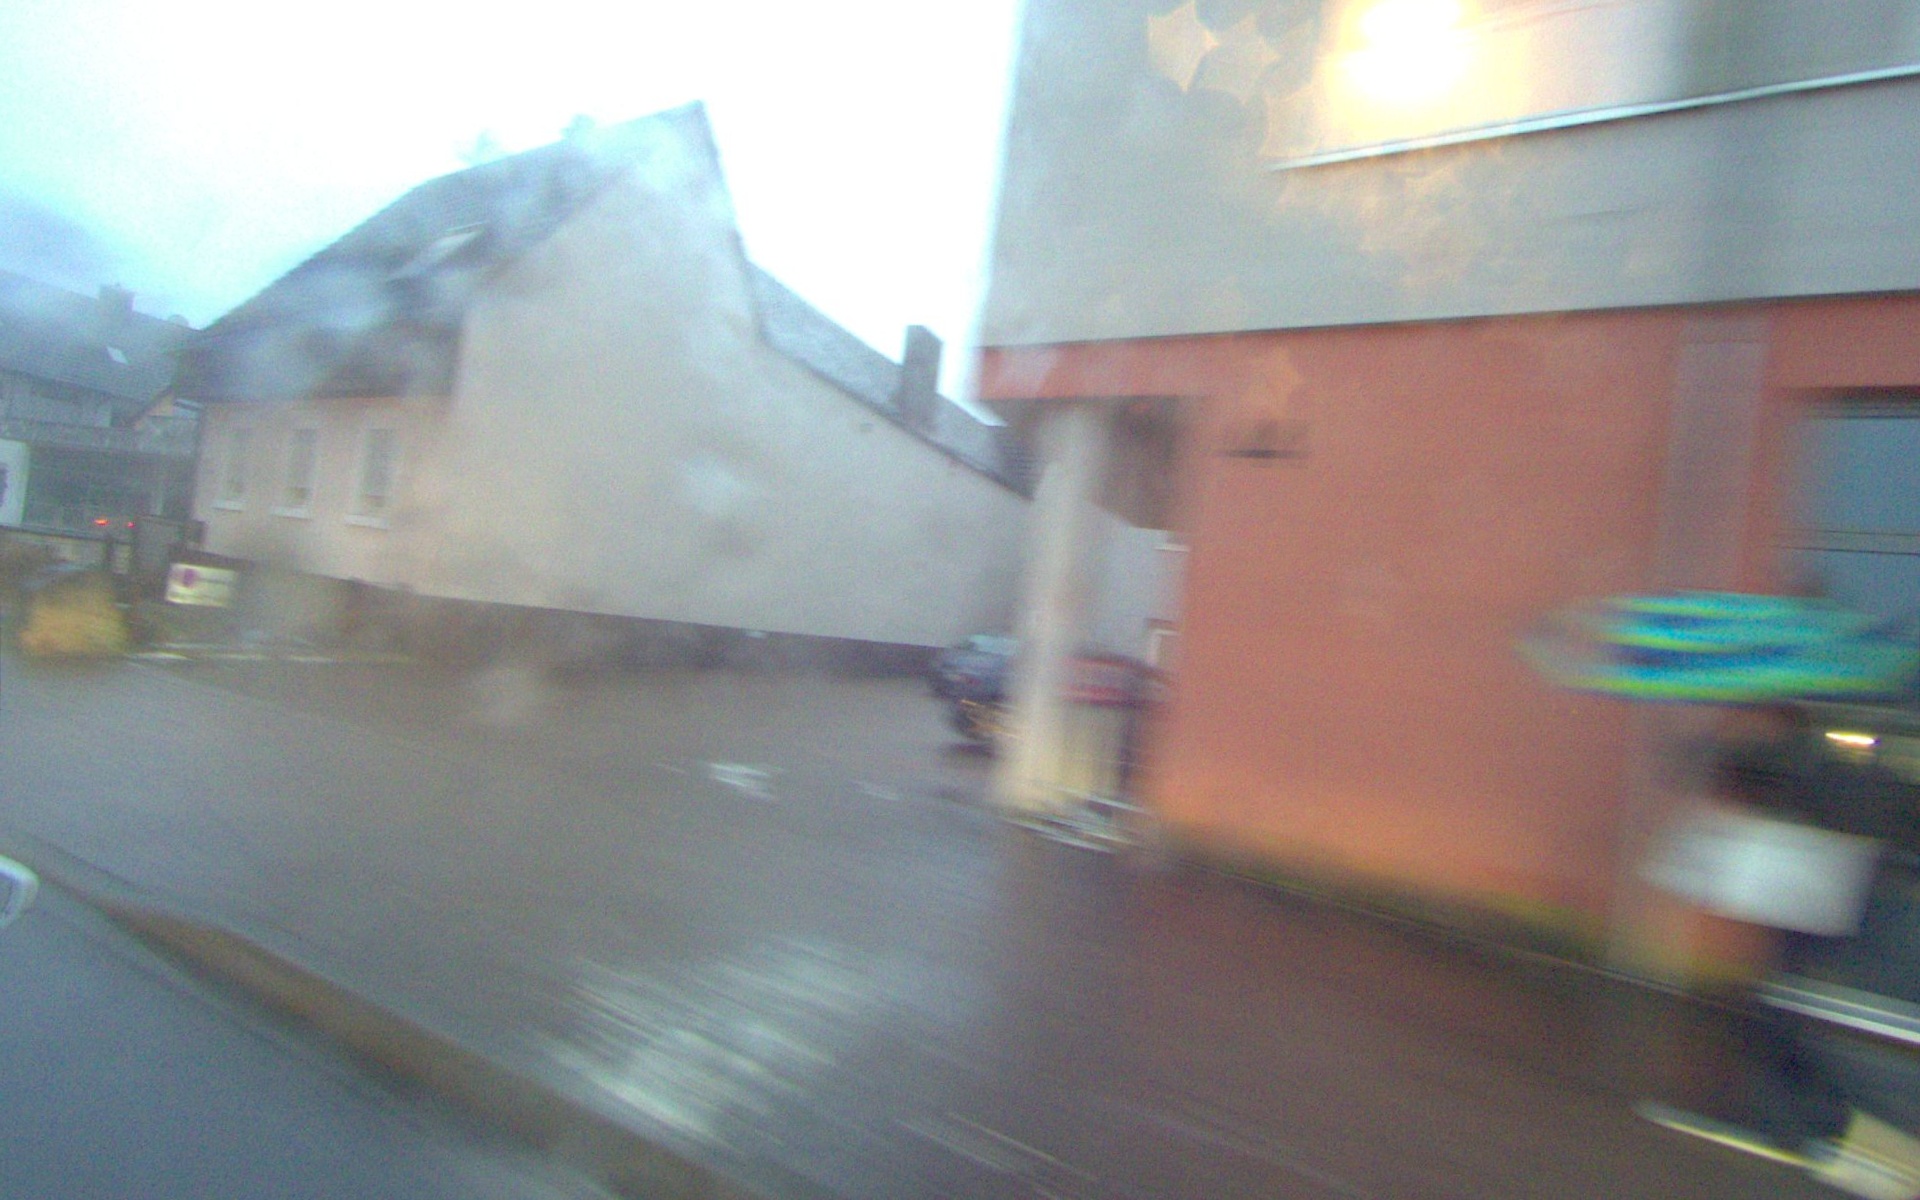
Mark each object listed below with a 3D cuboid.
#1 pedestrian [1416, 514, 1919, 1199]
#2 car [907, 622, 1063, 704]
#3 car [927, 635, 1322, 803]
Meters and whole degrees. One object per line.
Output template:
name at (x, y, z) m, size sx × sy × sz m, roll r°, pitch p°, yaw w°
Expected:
pedestrian at (2.394, 0.783, 3.221) m, size 1.283 × 1.889 × 1.254 m, roll 7°, pitch 1°, yaw 36°
car at (0.657, 1.404, 21.817) m, size 1.809 × 1.393 × 4.000 m, roll 8°, pitch -1°, yaw 25°
car at (1.893, 1.280, 11.680) m, size 4.091 × 1.273 × 1.882 m, roll 6°, pitch -1°, yaw 15°
